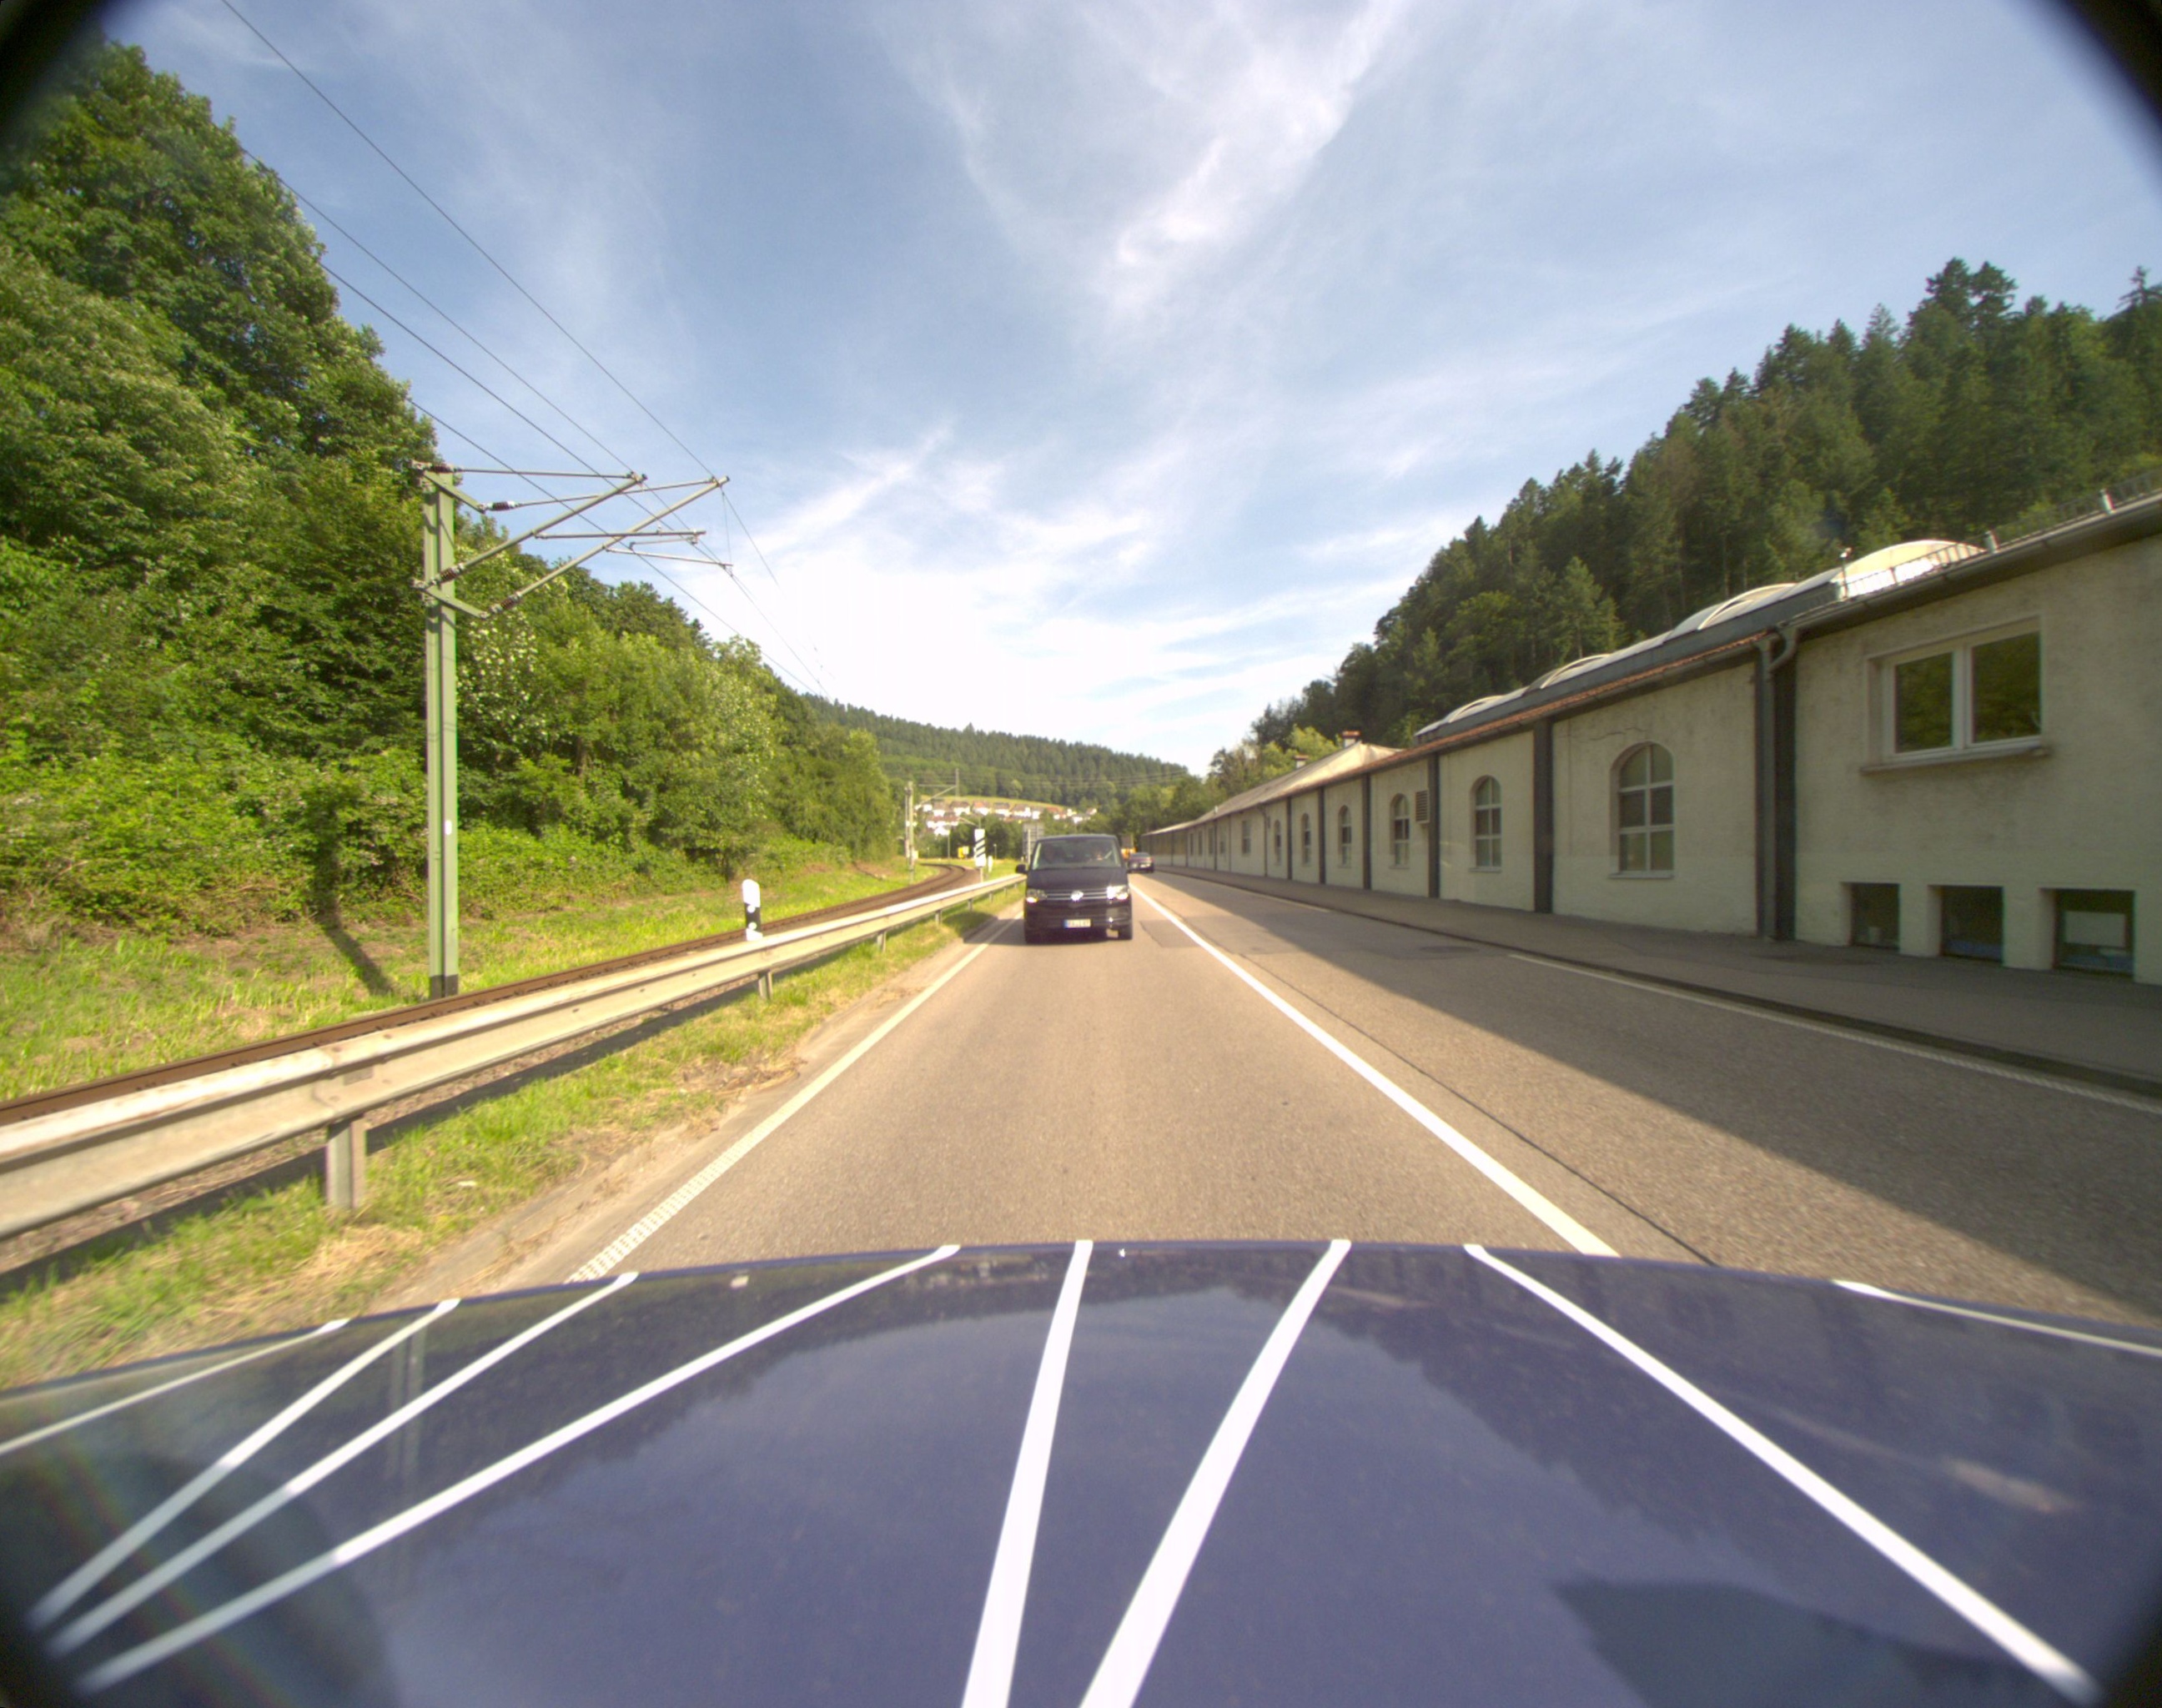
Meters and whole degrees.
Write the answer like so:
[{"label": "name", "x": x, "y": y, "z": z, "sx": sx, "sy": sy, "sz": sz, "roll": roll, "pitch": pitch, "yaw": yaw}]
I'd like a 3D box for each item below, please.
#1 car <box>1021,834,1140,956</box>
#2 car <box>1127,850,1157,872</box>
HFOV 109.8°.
[{"label": "car", "x": -0.101, "y": 0.660, "z": 15.021, "sx": 1.901, "sy": 1.927, "sz": 5.187, "roll": -2, "pitch": 0, "yaw": -2}, {"label": "car", "x": 4.639, "y": 0.505, "z": 57.936, "sx": 1.934, "sy": 1.572, "sz": 4.458, "roll": -3, "pitch": 0, "yaw": 1}]
